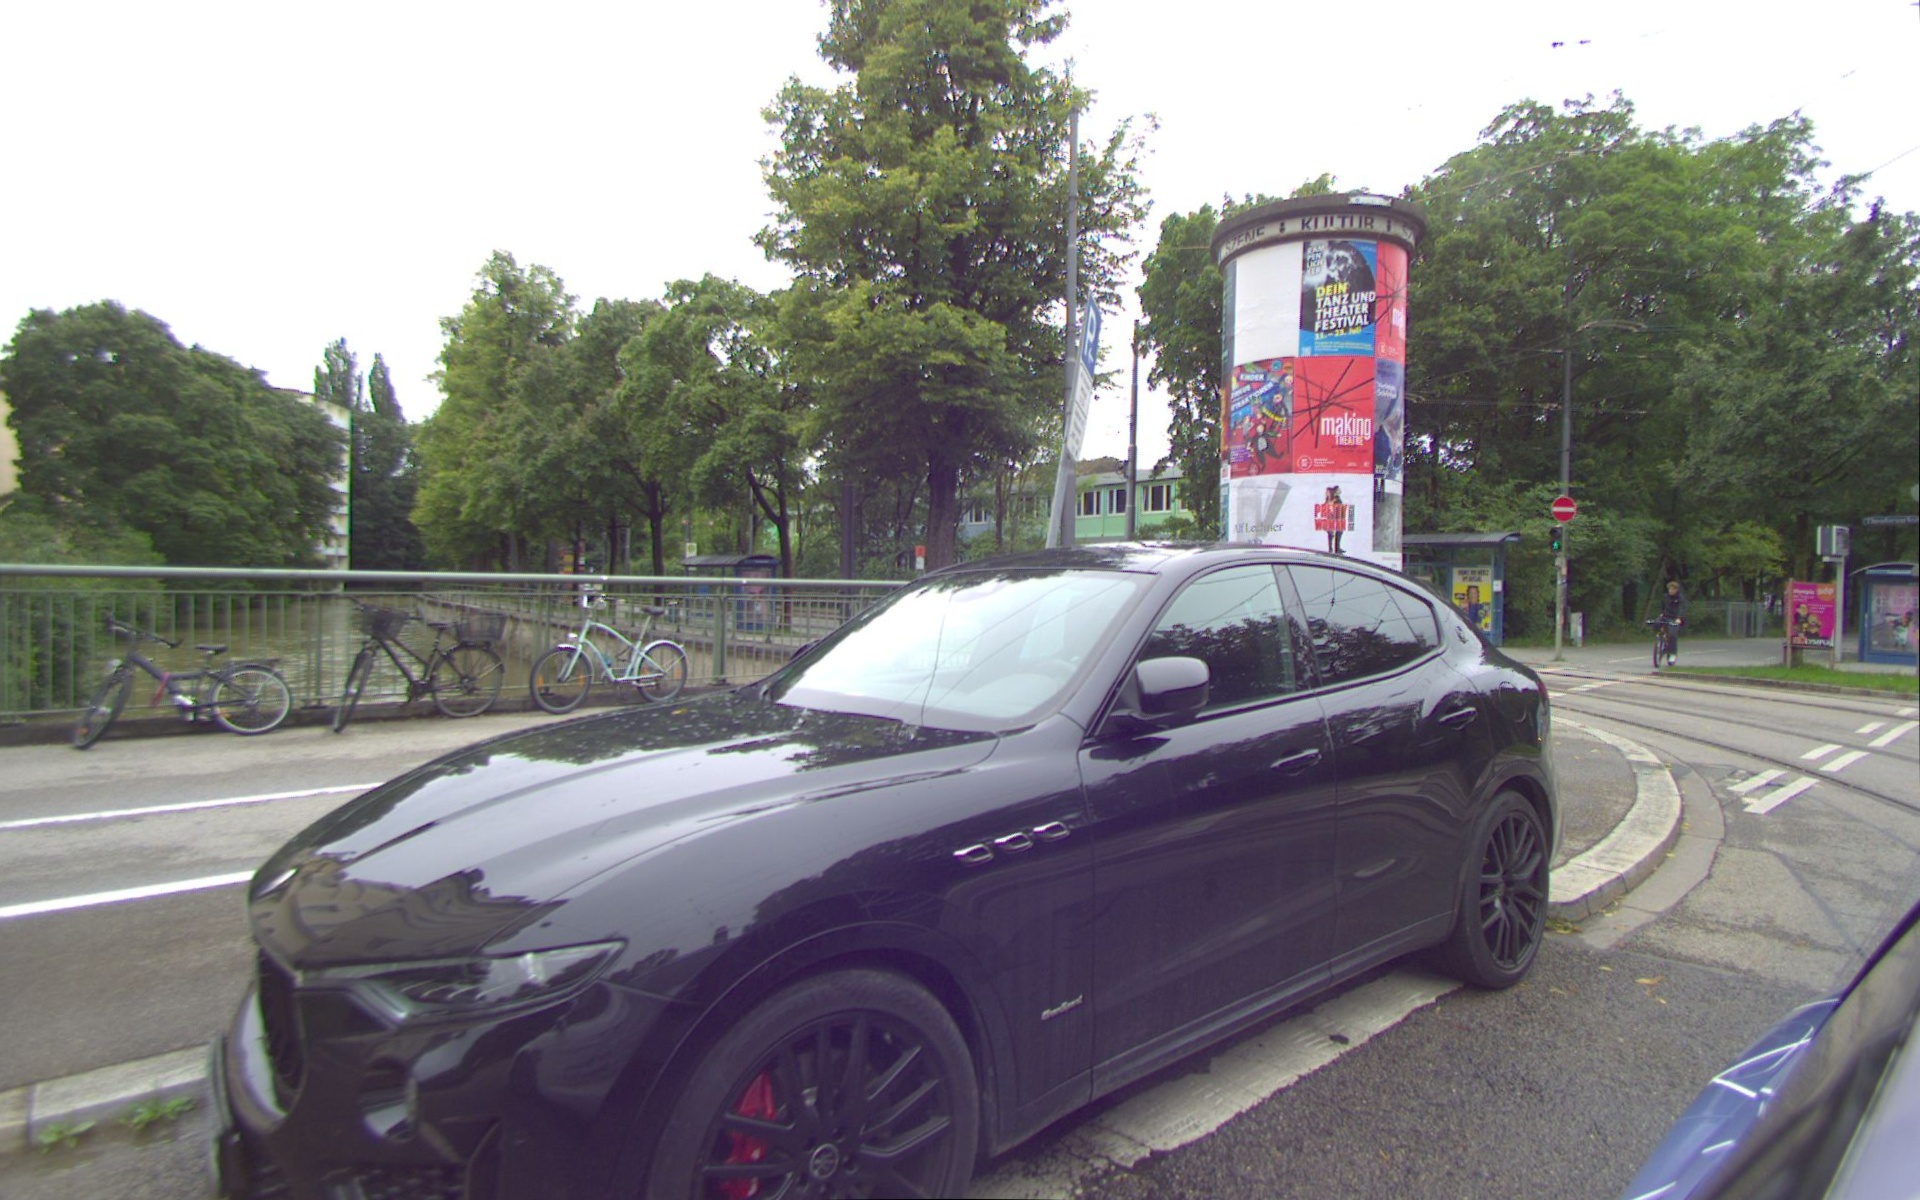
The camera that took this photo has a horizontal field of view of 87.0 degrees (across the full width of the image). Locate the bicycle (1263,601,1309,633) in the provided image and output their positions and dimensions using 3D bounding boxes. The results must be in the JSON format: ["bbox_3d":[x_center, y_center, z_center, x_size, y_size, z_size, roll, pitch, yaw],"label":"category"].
[{"bbox_3d":[10.547,0.534,32.744,0.366,0.964,1.484,0,1,-37],"label":"bicycle"}]

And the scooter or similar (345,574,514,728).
[{"bbox_3d":[-4.756,0.421,9.159,0.242,1.279,1.481,-1,0,28],"label":"scooter or similar"}]

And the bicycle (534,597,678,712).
[{"bbox_3d":[-3.586,0.518,10.366,0.263,1.096,1.523,-1,0,35],"label":"bicycle"}]

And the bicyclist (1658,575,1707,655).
[{"bbox_3d":[16.033,0.322,22.454,0.714,1.751,0.725,0,-1,-42],"label":"bicyclist"}]

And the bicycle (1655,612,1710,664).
[{"bbox_3d":[16.014,0.818,22.428,1.879,1.092,0.579,0,0,-41],"label":"bicycle"}]

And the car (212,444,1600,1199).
[{"bbox_3d":[0.297,0.626,3.516,4.580,1.630,1.905,1,-1,-39],"label":"car"}]

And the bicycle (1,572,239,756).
[{"bbox_3d":[-6.425,0.450,7.807,0.281,1.298,1.390,-1,0,39],"label":"bicycle"}]

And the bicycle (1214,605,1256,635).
[{"bbox_3d":[9.351,0.668,34.463,0.366,0.964,1.484,0,1,-37],"label":"bicycle"}]

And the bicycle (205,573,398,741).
[{"bbox_3d":[-5.499,0.438,8.528,0.280,1.298,1.395,-1,0,31],"label":"bicycle"}]
